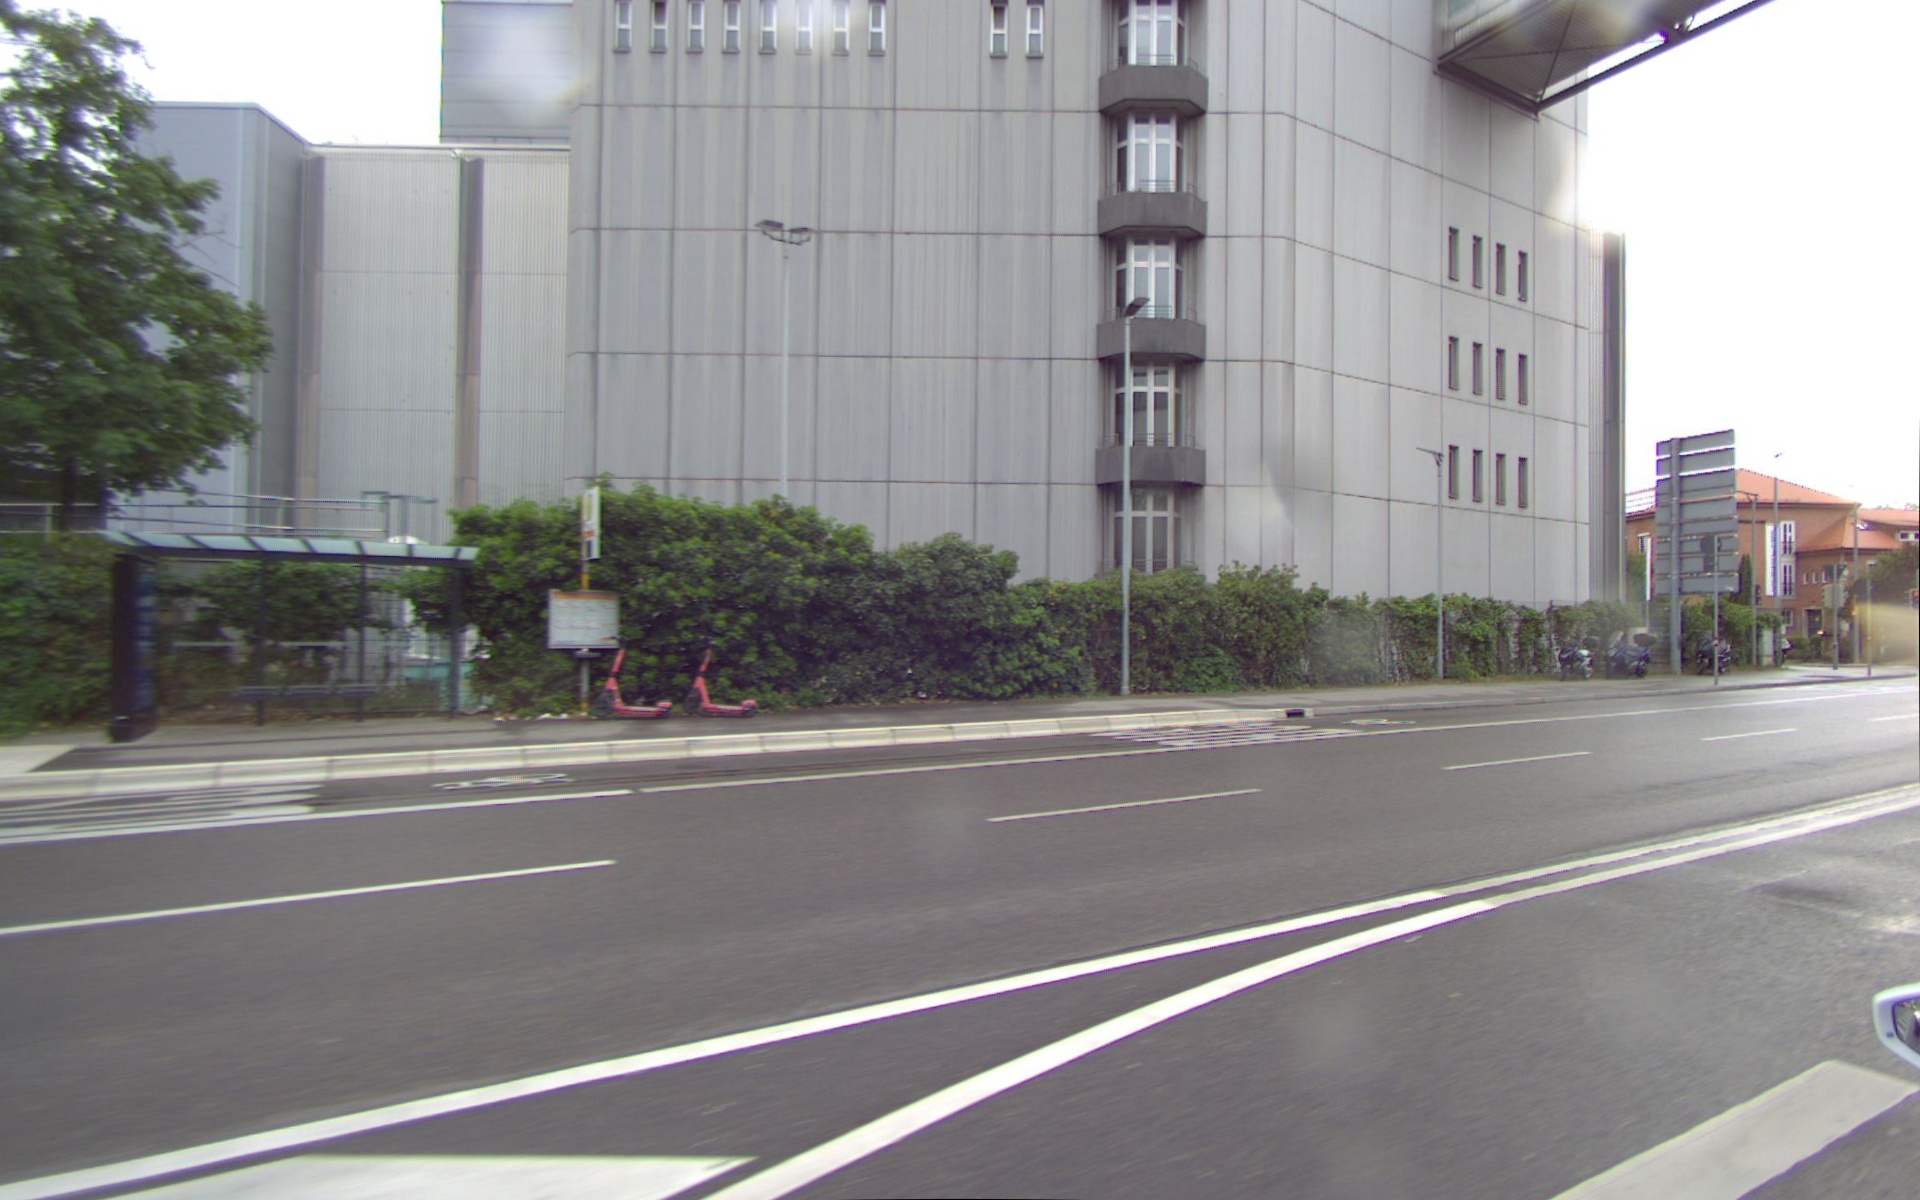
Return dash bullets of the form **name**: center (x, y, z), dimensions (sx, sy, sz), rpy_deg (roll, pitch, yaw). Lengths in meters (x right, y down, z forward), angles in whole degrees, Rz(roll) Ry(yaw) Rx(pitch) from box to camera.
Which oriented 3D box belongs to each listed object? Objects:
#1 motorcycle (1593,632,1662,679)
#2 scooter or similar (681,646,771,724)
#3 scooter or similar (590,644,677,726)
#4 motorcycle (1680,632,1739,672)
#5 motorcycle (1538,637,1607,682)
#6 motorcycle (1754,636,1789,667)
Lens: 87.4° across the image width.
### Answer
- **motorcycle**: center (19.996, 1.653, 30.081), dimensions (2.342, 1.365, 0.781), rpy_deg (1, -2, -31)
- **scooter or similar**: center (-3.672, 1.321, 15.772), dimensions (1.355, 1.196, 0.378), rpy_deg (1, -1, -17)
- **scooter or similar**: center (-4.923, 1.275, 15.193), dimensions (1.230, 1.196, 0.388), rpy_deg (1, -1, -17)
- **motorcycle**: center (24.656, 1.694, 33.019), dimensions (2.132, 1.263, 0.781), rpy_deg (1, -2, -31)
- **motorcycle**: center (17.613, 1.692, 28.870), dimensions (2.132, 1.267, 0.781), rpy_deg (1, -2, -31)
- **motorcycle**: center (33.098, 2.083, 41.008), dimensions (0.759, 1.234, 2.504), rpy_deg (-1, -2, 31)
